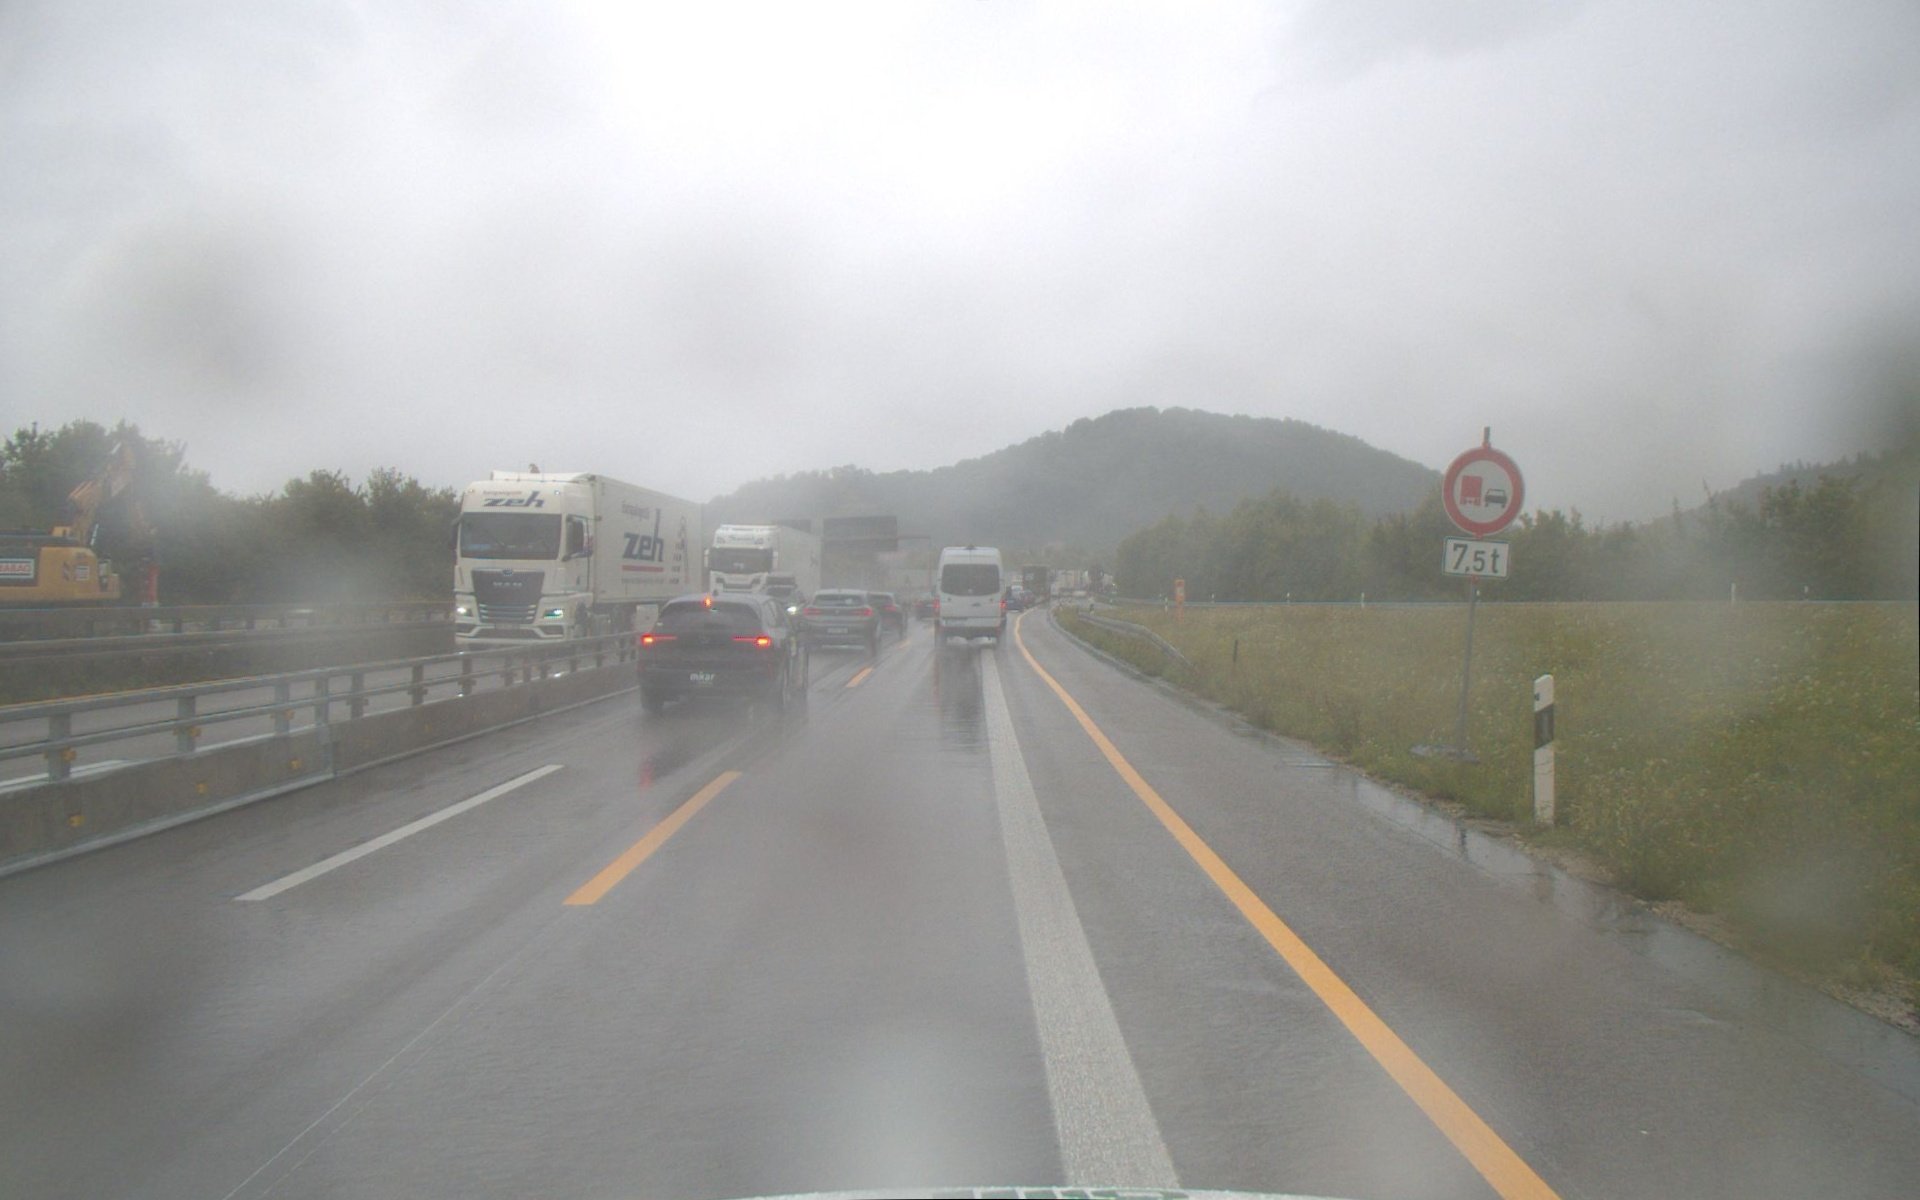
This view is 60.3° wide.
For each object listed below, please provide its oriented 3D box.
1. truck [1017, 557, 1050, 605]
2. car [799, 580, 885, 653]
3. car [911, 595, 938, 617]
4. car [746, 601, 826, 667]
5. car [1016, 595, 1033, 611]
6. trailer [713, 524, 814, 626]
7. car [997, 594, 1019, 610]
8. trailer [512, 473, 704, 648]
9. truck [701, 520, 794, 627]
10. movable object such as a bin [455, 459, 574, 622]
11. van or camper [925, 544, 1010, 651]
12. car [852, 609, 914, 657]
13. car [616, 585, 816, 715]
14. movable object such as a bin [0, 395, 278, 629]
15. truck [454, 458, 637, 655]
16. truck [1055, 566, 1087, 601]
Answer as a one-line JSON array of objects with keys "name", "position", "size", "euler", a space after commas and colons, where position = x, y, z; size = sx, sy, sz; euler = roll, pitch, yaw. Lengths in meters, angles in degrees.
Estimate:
[{"name": "truck", "position": [8.007, -2.004, 178.513], "size": [3.251, 4.868, 9.911], "euler": [2, 0, 4]}, {"name": "car", "position": [-2.875, 0.392, 40.924], "size": [1.829, 1.688, 3.988], "euler": [0, 0, 0]}, {"name": "car", "position": [-1.791, 0.282, 84.506], "size": [1.236, 1.097, 3.255], "euler": [0, 0, 1]}, {"name": "car", "position": [-5.363, 1.017, 51.555], "size": [1.952, 1.917, 4.433], "euler": [0, 1, 1]}, {"name": "car", "position": [5.433, 0.245, 139.537], "size": [1.356, 1.278, 3.122], "euler": [0, 0, 0]}, {"name": "trailer", "position": [-8.553, -1.104, 73.471], "size": [2.847, 4.161, 12.221], "euler": [0, 1, 1]}, {"name": "car", "position": [3.402, 0.129, 117.038], "size": [1.357, 1.097, 3.121], "euler": [0, 0, -3]}, {"name": "trailer", "position": [-9.262, -1.023, 45.250], "size": [2.443, 4.120, 12.588], "euler": [0, 1, 0]}, {"name": "truck", "position": [-8.619, -1.063, 67.894], "size": [2.824, 4.173, 6.927], "euler": [0, 1, 1]}, {"name": "movable object such as a bin", "position": [-23.941, -3.046, 89.401], "size": [3.521, 8.286, 8.311], "euler": [1, 0, 4]}, {"name": "van or camper", "position": [0.158, -0.068, 45.579], "size": [2.096, 2.769, 4.645], "euler": [0, 0, -3]}, {"name": "car", "position": [-2.565, 1.094, 55.911], "size": [1.814, 1.527, 4.001], "euler": [0, 0, 1]}, {"name": "car", "position": [-3.017, 0.577, 21.401], "size": [1.899, 1.452, 4.759], "euler": [1, 0, -1]}, {"name": "movable object such as a bin", "position": [-24.568, -2.292, 48.577], "size": [4.084, 6.018, 11.047], "euler": [2, 0, 2]}, {"name": "truck", "position": [-9.347, -0.964, 37.976], "size": [2.432, 4.101, 6.449], "euler": [1, 1, 1]}, {"name": "truck", "position": [16.208, -2.345, 241.495], "size": [3.845, 4.868, 9.914], "euler": [2, 0, 8]}]
